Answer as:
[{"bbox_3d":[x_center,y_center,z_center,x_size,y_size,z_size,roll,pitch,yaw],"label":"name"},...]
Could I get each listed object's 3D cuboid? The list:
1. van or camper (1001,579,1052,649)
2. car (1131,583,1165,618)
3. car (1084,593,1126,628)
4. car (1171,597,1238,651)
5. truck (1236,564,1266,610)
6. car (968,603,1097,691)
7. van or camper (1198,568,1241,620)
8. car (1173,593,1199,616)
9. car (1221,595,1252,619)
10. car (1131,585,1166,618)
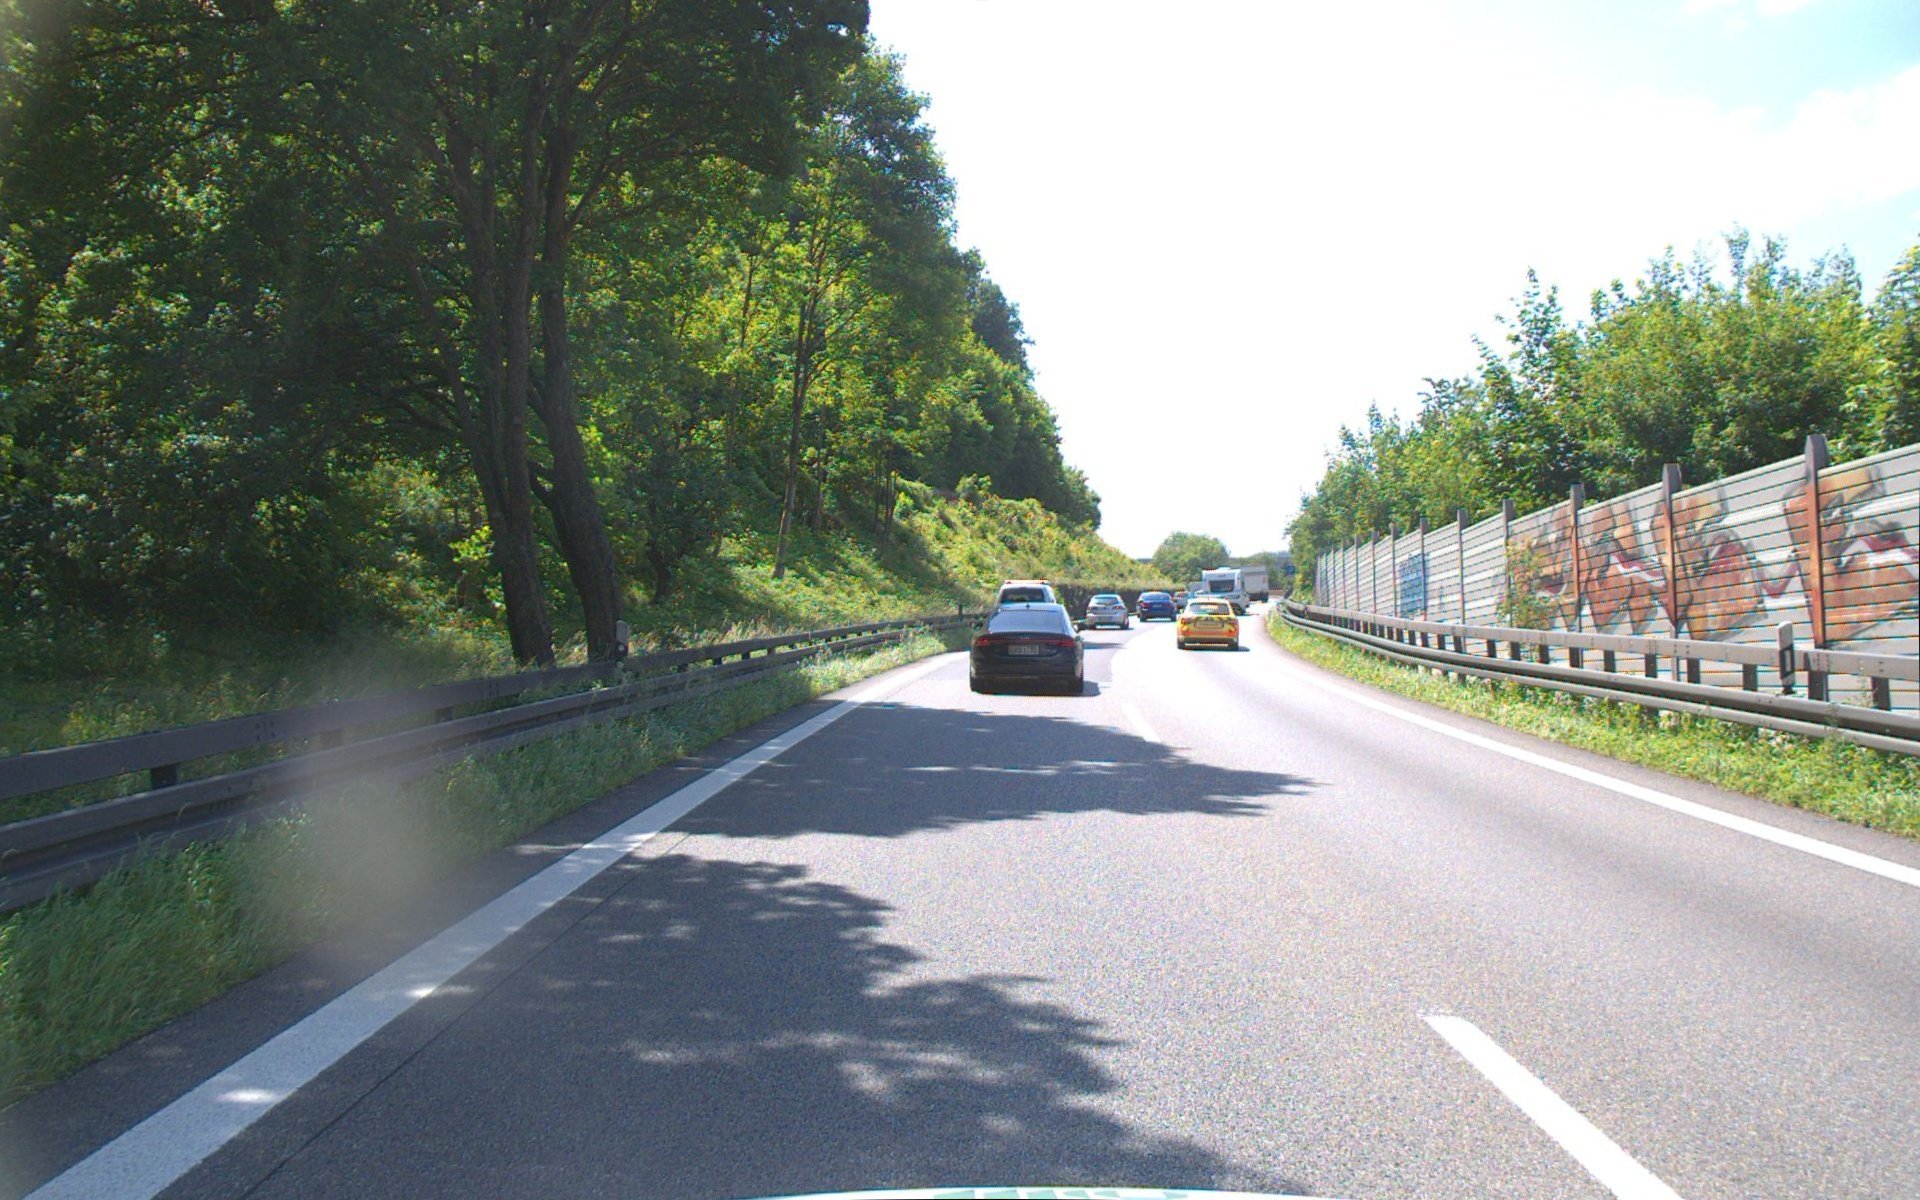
[{"bbox_3d":[1.849,0.396,45.466,1.362,1.848,4.001,0,-1,3],"label":"van or camper"},{"bbox_3d":[11.461,0.021,100.686,1.951,2.049,4.003,0,0,7],"label":"car"},{"bbox_3d":[6.169,0.460,70.187,1.710,1.456,4.002,0,-1,6],"label":"car"},{"bbox_3d":[7.179,0.705,48.850,1.823,1.514,4.003,0,-1,7],"label":"car"},{"bbox_3d":[27.104,-1.156,153.770,2.674,4.168,7.486,0,0,11],"label":"truck"},{"bbox_3d":[1.288,0.754,27.800,1.798,1.373,4.003,0,-1,8],"label":"car"},{"bbox_3d":[15.371,-0.308,97.836,2.403,2.969,6.131,0,-1,9],"label":"van or camper"},{"bbox_3d":[17.935,0.334,130.952,1.802,1.747,4.003,0,0,11],"label":"car"},{"bbox_3d":[21.191,0.506,126.775,1.951,1.747,4.003,-1,0,15],"label":"car"},{"bbox_3d":[9.735,0.115,85.590,1.736,1.665,4.002,0,-1,6],"label":"car"}]
